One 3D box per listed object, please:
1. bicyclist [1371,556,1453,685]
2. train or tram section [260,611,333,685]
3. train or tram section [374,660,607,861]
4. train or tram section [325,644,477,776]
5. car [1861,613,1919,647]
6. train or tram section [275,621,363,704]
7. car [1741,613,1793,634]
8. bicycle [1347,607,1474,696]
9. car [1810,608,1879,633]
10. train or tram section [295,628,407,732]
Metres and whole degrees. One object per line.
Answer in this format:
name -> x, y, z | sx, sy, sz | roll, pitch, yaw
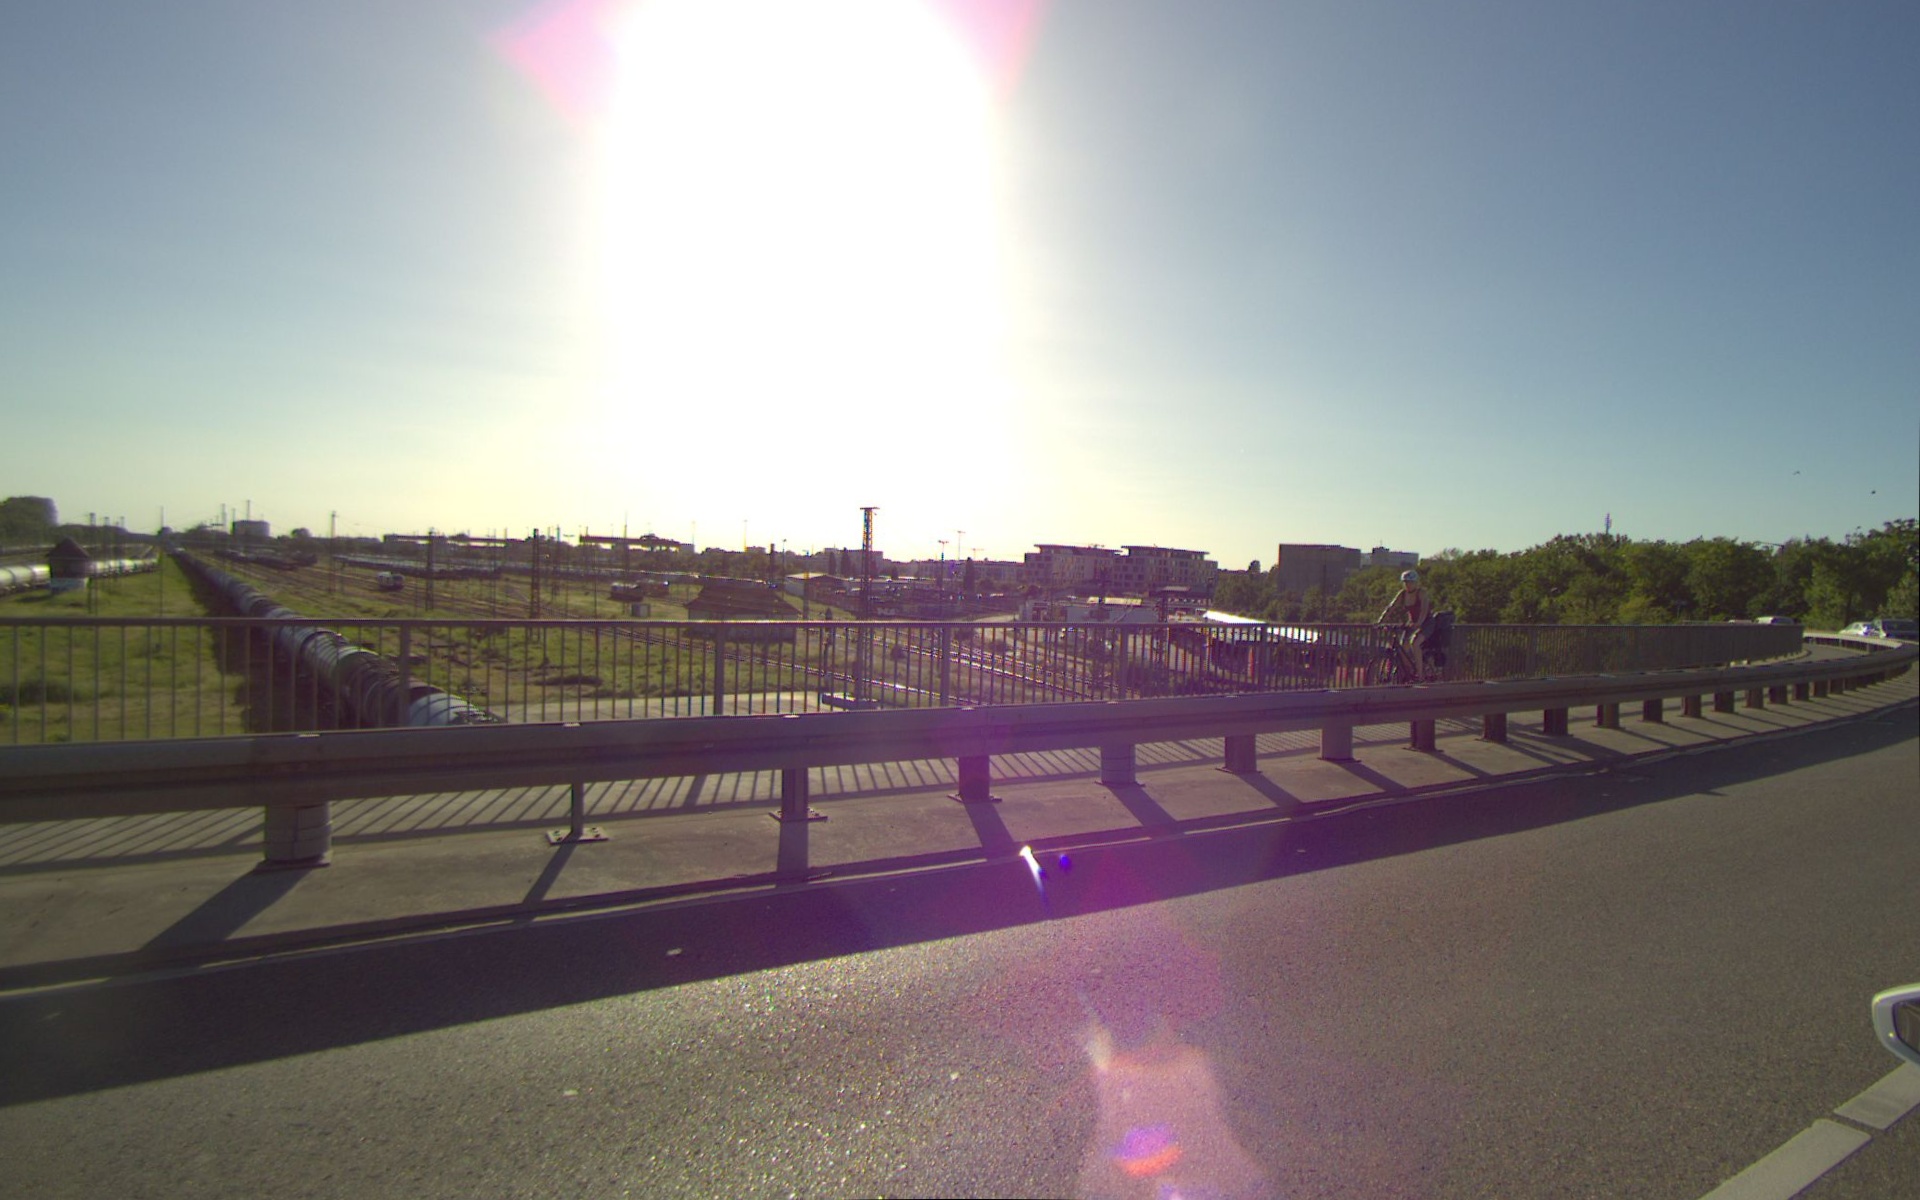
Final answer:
bicyclist -> 5.860, 0.253, 13.025 | 0.760, 1.611, 0.649 | 1, 0, -35
train or tram section -> -57.852, 3.915, 87.265 | 3.872, 5.592, 16.321 | 1, 0, -38
train or tram section -> -17.458, 4.981, 36.030 | 3.872, 4.652, 16.582 | 1, 0, -38
train or tram section -> -27.570, 4.872, 48.844 | 3.872, 4.652, 16.131 | 1, 0, -38
car -> 48.444, 1.539, 51.925 | 1.821, 1.645, 4.096 | 1, 0, 29
train or tram section -> -47.766, 4.314, 74.477 | 3.872, 5.083, 16.184 | 1, 0, -38
car -> 66.405, 1.901, 82.722 | 1.804, 1.576, 3.895 | 1, 0, 14
bicycle -> 5.857, 0.643, 13.029 | 1.871, 1.079, 0.649 | 1, 0, -36
car -> 60.387, 1.388, 68.688 | 1.827, 1.606, 3.916 | 1, 0, 12
train or tram section -> -37.672, 4.519, 61.642 | 3.872, 5.083, 16.482 | 1, 0, -38
